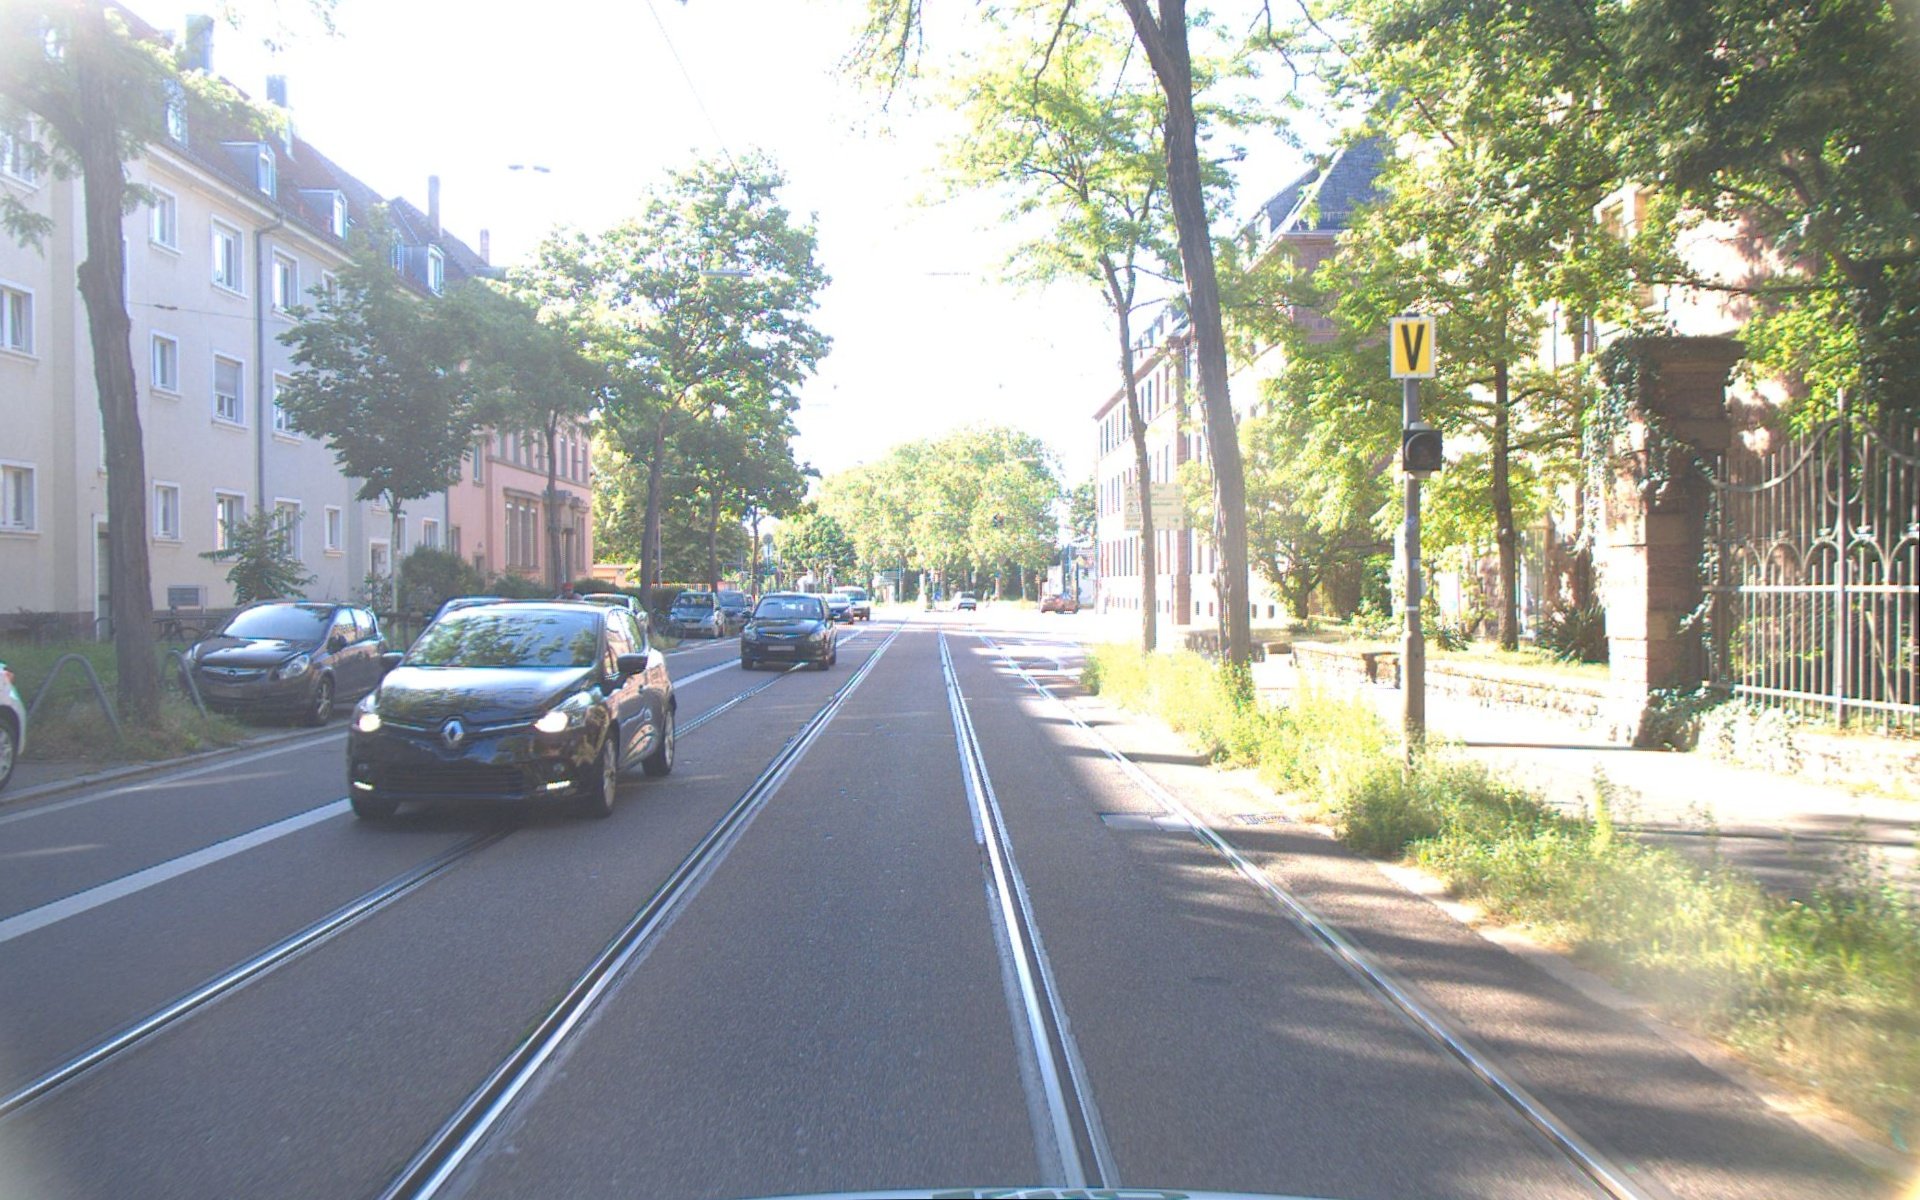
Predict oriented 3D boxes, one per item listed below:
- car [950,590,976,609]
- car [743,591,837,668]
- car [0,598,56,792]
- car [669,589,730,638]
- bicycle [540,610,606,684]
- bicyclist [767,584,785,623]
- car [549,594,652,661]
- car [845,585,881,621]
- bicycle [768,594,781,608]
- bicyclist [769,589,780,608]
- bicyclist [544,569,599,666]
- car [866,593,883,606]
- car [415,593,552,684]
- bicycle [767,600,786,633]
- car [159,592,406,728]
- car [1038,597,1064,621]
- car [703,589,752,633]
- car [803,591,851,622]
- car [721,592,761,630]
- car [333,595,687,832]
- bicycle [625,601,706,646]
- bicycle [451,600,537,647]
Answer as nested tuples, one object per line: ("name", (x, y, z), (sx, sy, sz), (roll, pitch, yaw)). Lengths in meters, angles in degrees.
("car", (0.262, -0.015, 145.258), (1.905, 1.638, 3.995), (0, 0, -6))
("car", (-3.426, 0.555, 33.903), (1.665, 1.497, 4.070), (0, 0, -2))
("car", (-8.367, 0.737, 11.744), (1.668, 1.511, 4.078), (2, 0, -1))
("car", (-9.168, 0.449, 58.450), (1.711, 1.597, 4.066), (2, 0, -4))
("bicycle", (-6.740, 0.798, 28.893), (0.680, 1.198, 1.913), (-3, 0, -1))
("bicyclist", (-7.201, 0.118, 64.794), (0.547, 1.482, 0.869), (-4, 0, -4))
("car", (-8.922, 0.638, 41.369), (1.710, 1.516, 4.322), (2, 0, -2))
("car", (-5.334, 0.167, 90.992), (1.773, 1.921, 4.439), (0, 0, -1))
("bicycle", (-14.835, 0.104, 132.345), (0.737, 1.106, 2.167), (0, 0, -16))
("bicyclist", (-14.821, -0.105, 132.298), (0.737, 1.530, 0.960), (0, 0, -16))
("bicyclist", (-6.762, 0.302, 28.839), (0.695, 1.635, 0.865), (-3, 0, -1))
("car", (-10.621, -0.038, 204.925), (1.905, 1.638, 3.994), (0, 0, -6))
("car", (-8.669, 0.656, 30.379), (1.529, 1.482, 3.928), (2, 0, -3))
("bicycle", (-7.154, 0.617, 64.614), (0.547, 1.219, 2.290), (-4, 0, -4))
("car", (-8.465, 0.685, 21.013), (1.653, 1.511, 3.758), (2, 0, -2))
("car", (6.526, 0.661, 118.872), (1.800, 1.684, 3.581), (0, 0, 4))
("car", (-9.403, 0.422, 67.175), (1.711, 1.689, 4.386), (2, 0, -5))
("car", (-6.323, 0.301, 78.067), (1.777, 1.411, 4.428), (0, 0, -11))
("car", (-9.507, 0.461, 72.019), (1.551, 1.514, 3.609), (2, 0, -5))
("car", (-3.129, 0.696, 12.319), (1.665, 1.464, 4.070), (0, 0, -2))
("bicycle", (-8.712, 0.698, 48.932), (2.236, 1.219, 0.560), (2, 1, 6))
("bicycle", (-13.081, 0.645, 46.414), (2.236, 1.219, 0.560), (2, 1, 6))
